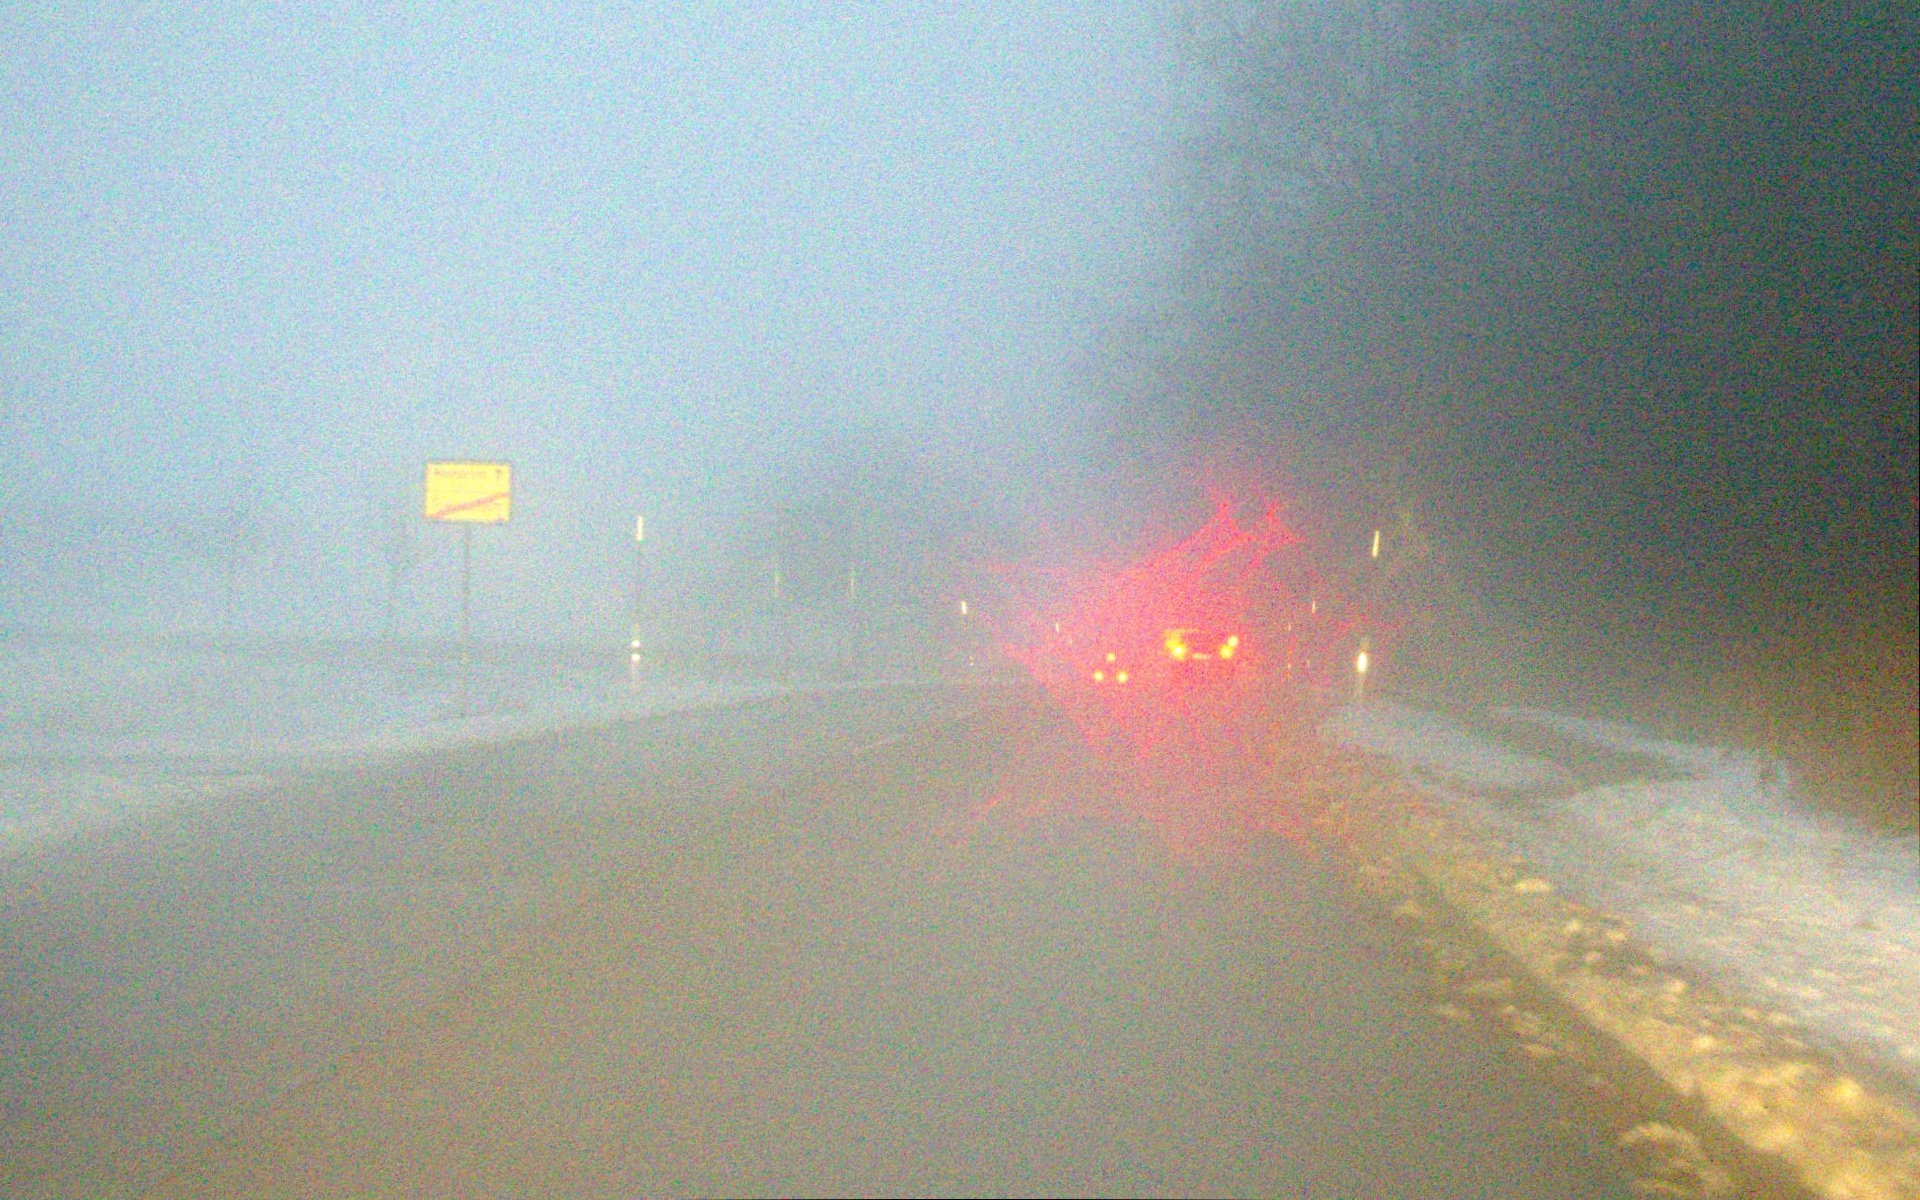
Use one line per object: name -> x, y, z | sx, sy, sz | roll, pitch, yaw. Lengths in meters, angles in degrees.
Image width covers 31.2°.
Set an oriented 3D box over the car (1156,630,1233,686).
car -> 6.374, 1.565, 93.795 | 1.994, 1.415, 4.000 | 0, 1, 3
